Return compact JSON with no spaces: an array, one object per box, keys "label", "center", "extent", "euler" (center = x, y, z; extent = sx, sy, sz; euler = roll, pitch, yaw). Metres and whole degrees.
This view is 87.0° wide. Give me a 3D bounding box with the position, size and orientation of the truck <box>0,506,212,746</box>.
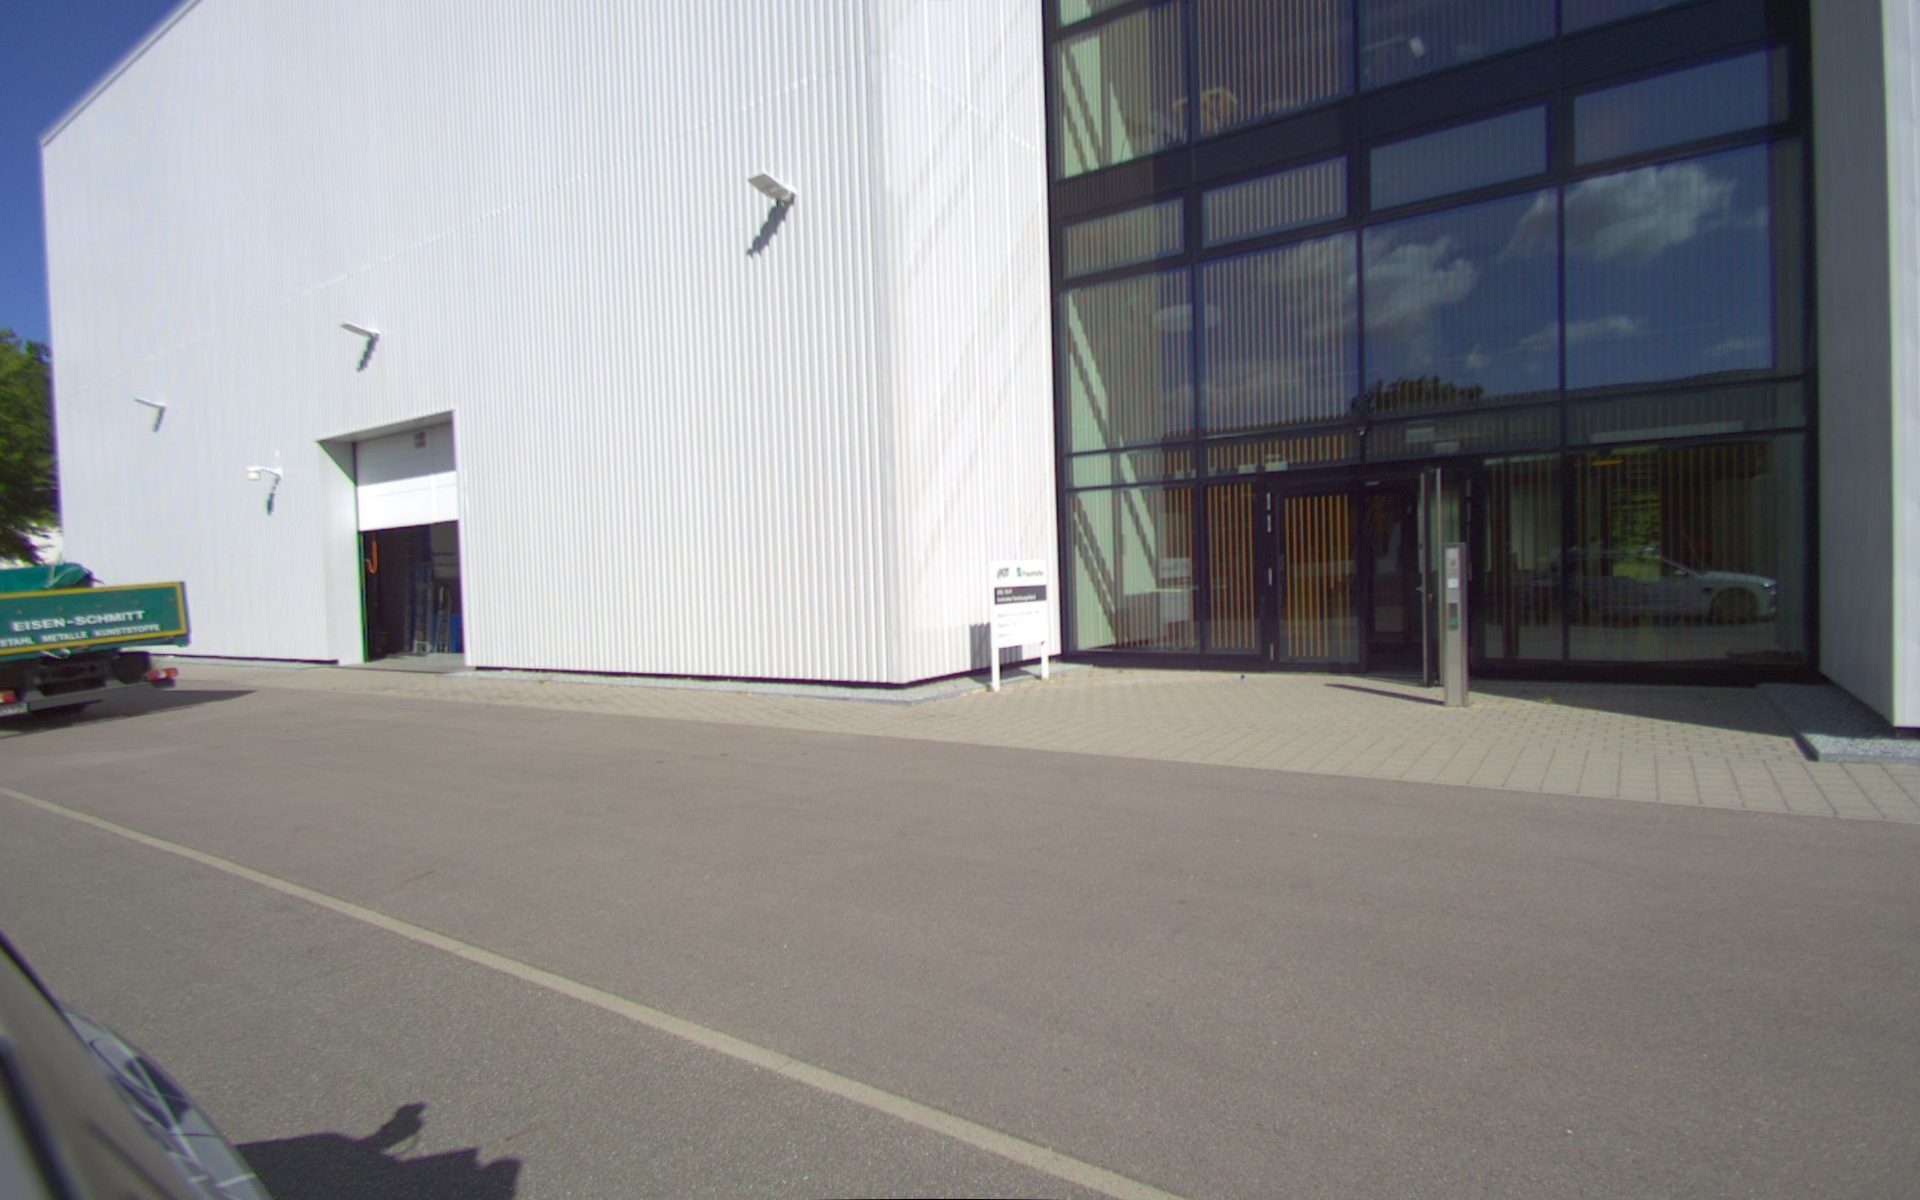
[{"label":"truck","center":[-15.110,0.390,14.269],"extent":[9.629,2.736,2.571],"euler":[-2,3,22]}]
